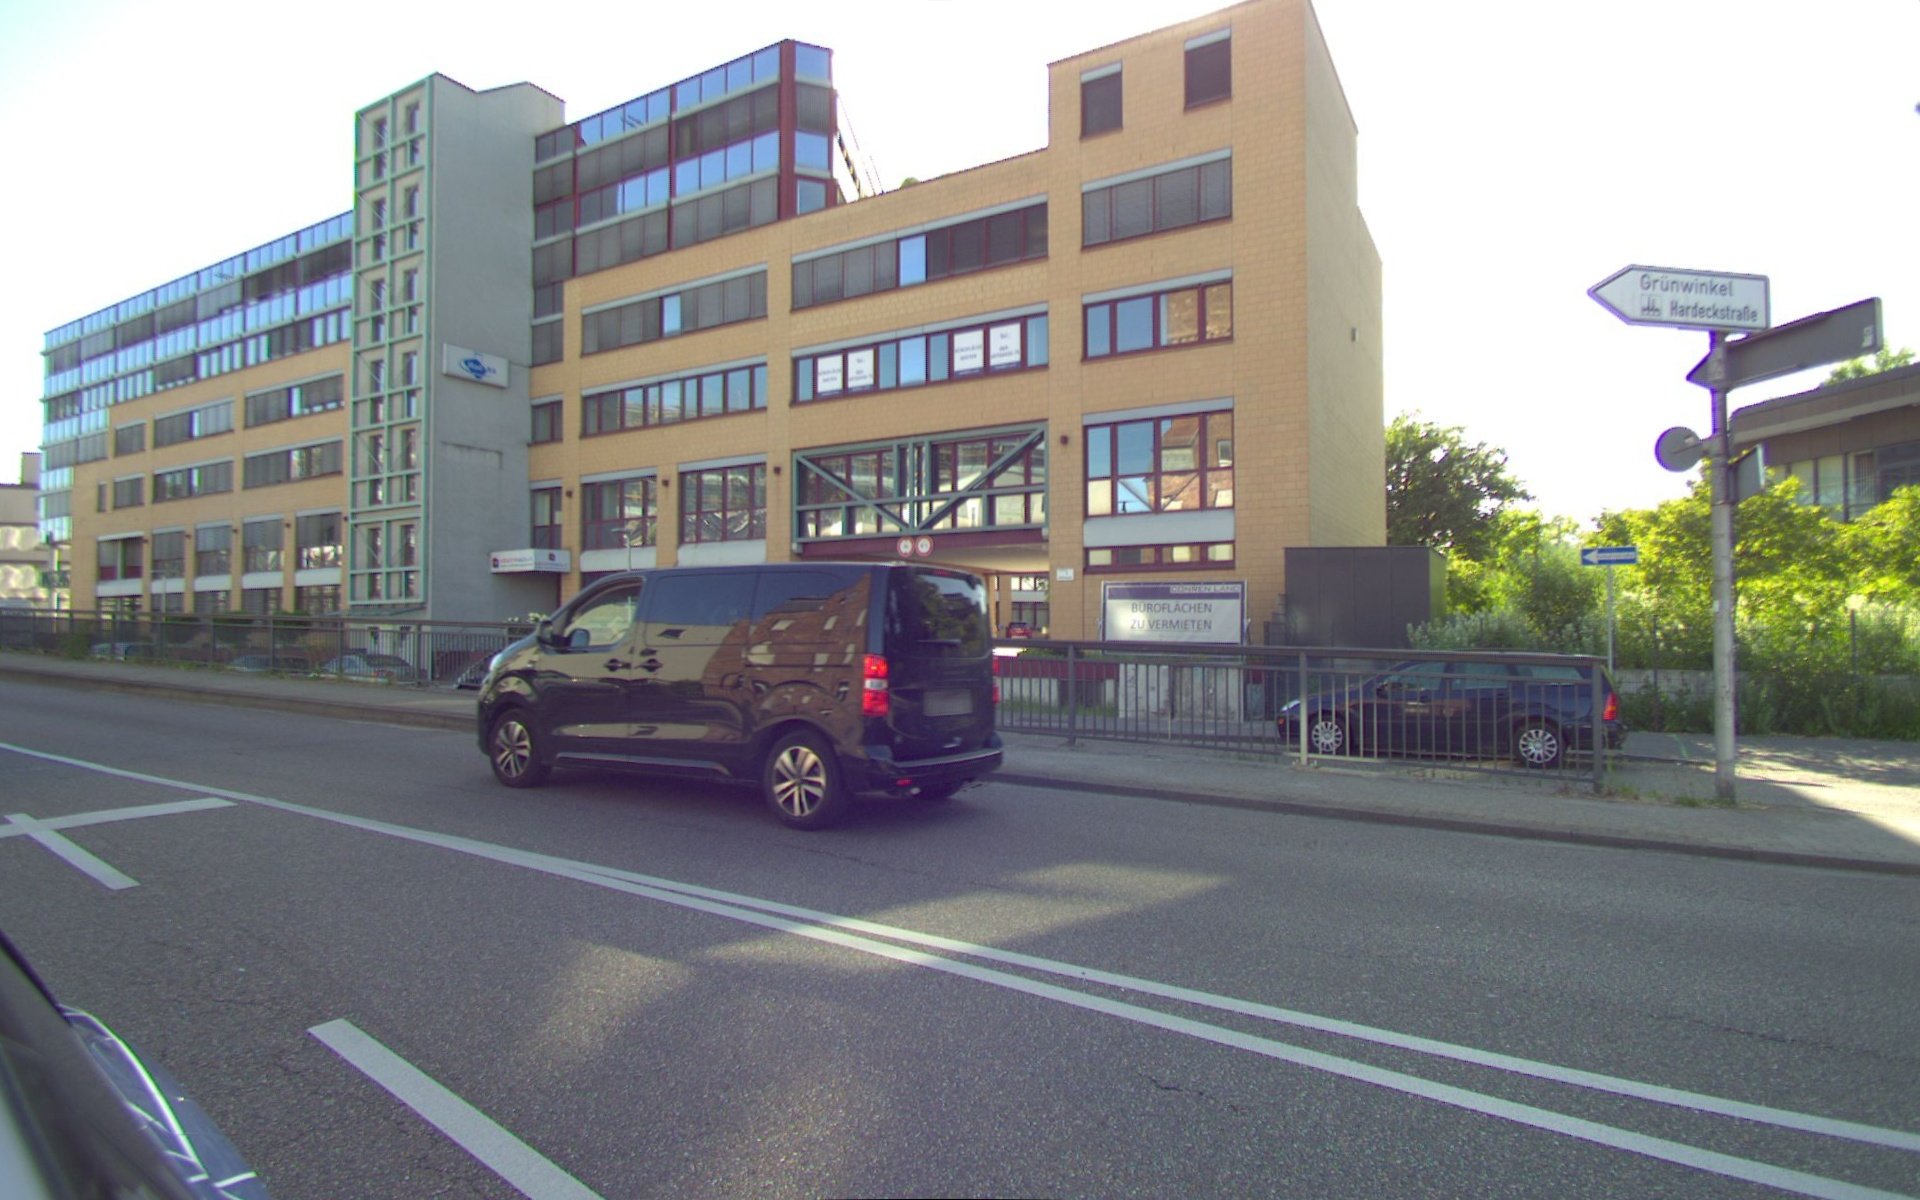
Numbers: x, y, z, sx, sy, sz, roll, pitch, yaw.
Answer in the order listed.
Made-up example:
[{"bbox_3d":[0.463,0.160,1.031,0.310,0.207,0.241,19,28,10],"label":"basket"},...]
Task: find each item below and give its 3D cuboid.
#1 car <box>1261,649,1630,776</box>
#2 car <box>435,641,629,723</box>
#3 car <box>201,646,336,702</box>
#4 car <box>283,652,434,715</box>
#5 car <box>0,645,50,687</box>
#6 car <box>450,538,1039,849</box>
[{"bbox_3d":[6.703,1.449,14.188,4.439,1.515,1.805,-2,-3,34],"label":"car"},{"bbox_3d":[-10.428,1.915,24.575,4.668,1.771,1.937,-1,-1,30],"label":"car"},{"bbox_3d":[-21.503,2.246,31.438,4.340,1.616,1.807,-1,-3,31],"label":"car"},{"bbox_3d":[-16.985,2.298,28.550,4.340,1.616,1.807,-1,-3,31],"label":"car"},{"bbox_3d":[-40.619,2.779,42.978,3.989,1.674,1.977,-1,-3,34],"label":"car"},{"bbox_3d":[-1.934,0.674,8.501,4.835,1.950,1.978,-2,-3,32],"label":"car"}]
